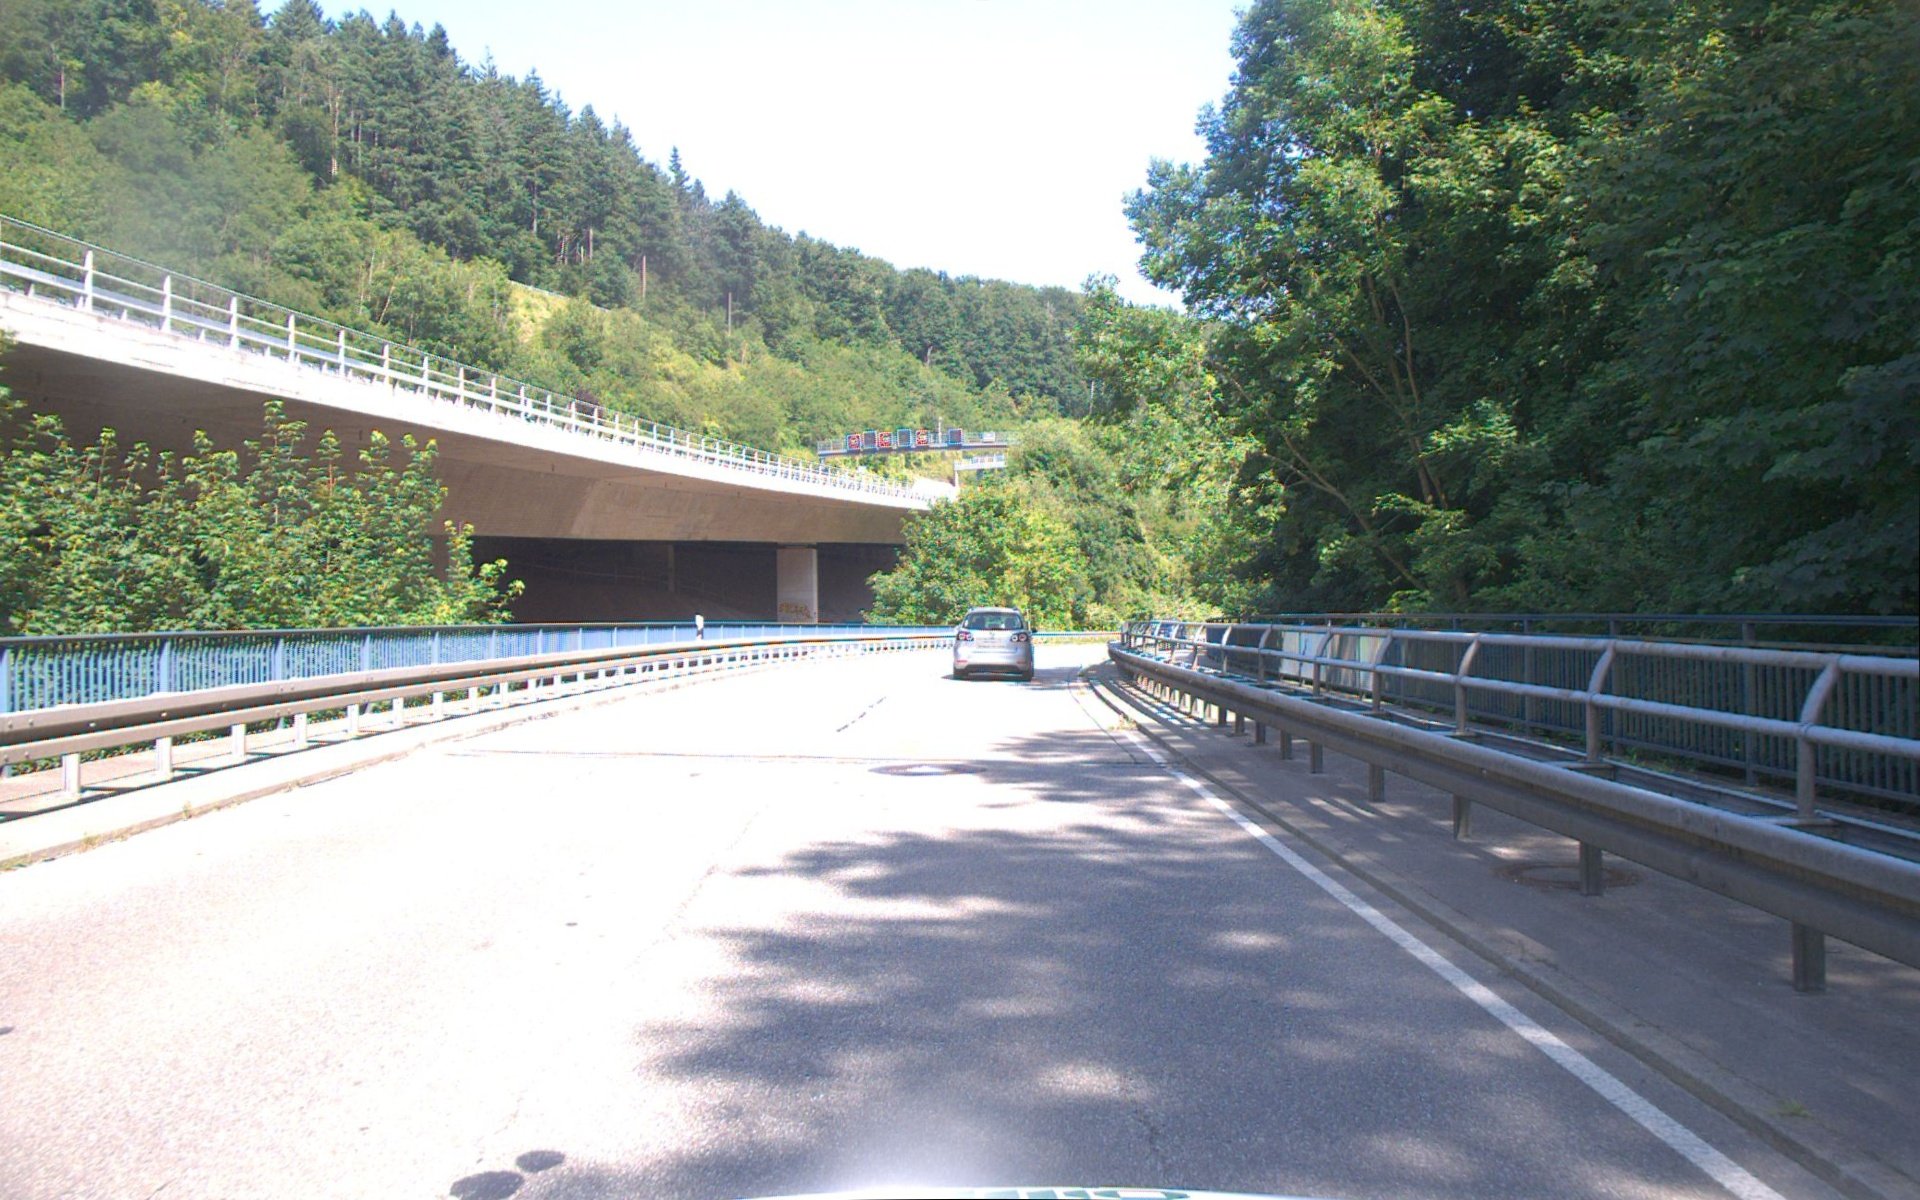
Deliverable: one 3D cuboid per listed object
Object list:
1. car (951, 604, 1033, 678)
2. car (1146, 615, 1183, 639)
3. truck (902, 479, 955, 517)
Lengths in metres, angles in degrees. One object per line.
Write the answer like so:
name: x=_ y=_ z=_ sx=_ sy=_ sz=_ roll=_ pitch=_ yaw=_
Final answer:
car: x=0.756 y=0.889 z=37.001 sx=1.715 sy=1.546 sz=4.160 roll=0 pitch=-1 yaw=2
car: x=14.492 y=1.931 z=117.239 sx=1.858 sy=1.608 sz=4.557 roll=1 pitch=-1 yaw=17
truck: x=-3.151 y=-10.410 z=169.686 sx=3.298 sy=3.413 sz=10.185 roll=1 pitch=1 yaw=12
